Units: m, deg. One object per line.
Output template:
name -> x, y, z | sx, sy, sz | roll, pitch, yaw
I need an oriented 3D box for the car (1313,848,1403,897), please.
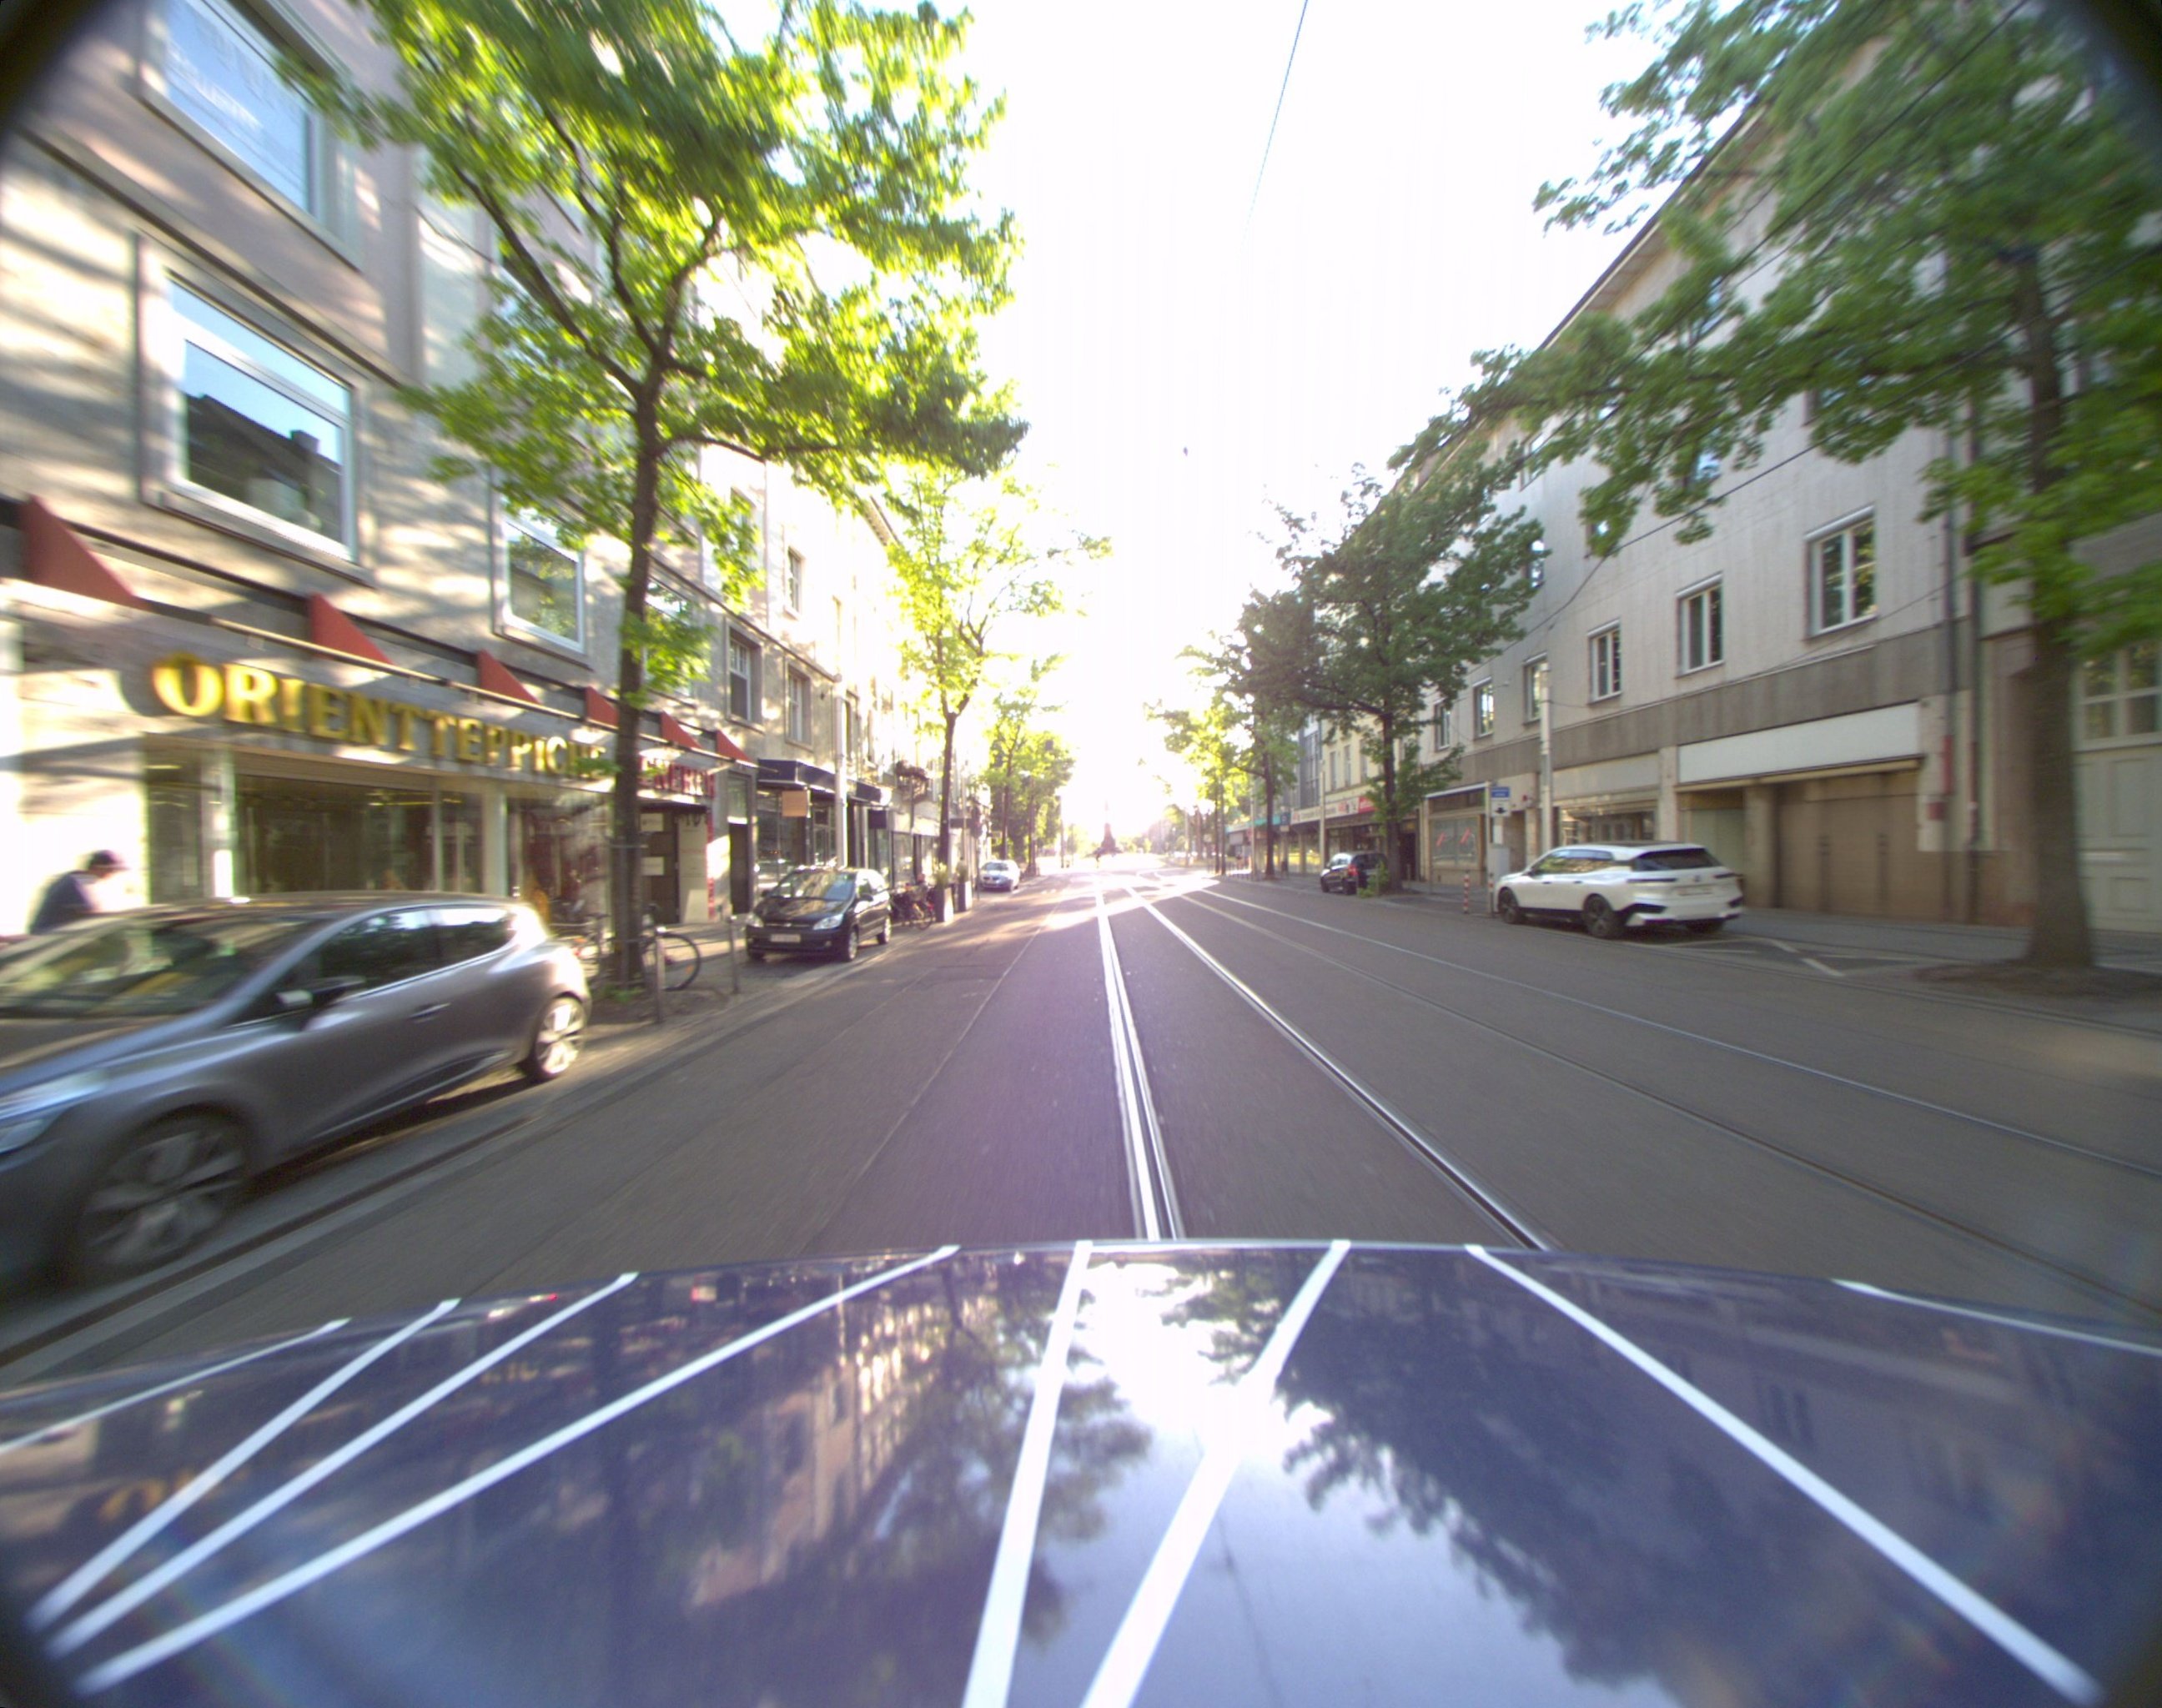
car -> 10.563, 0.667, 29.342 | 1.967, 1.630, 4.000 | -4, 1, 1

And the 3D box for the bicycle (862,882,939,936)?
bicycle -> -4.187, 1.256, 17.585 | 1.727, 1.132, 0.547 | 1, 1, 21

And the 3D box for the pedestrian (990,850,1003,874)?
pedestrian -> -7.132, 0.685, 63.863 | 0.847, 2.002, 0.842 | -2, 2, -20

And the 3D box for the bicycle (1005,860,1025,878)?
bicycle -> -4.388, 1.007, 50.667 | 0.462, 1.148, 1.677 | -3, 1, -39

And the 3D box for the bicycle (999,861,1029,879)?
bicycle -> -4.365, 1.058, 49.684 | 1.870, 1.148, 0.348 | -1, 1, 3

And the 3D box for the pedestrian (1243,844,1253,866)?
pedestrian -> 15.285, 0.114, 69.547 | 0.798, 2.002, 0.734 | -2, 2, 2

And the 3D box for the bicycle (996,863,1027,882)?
bicycle -> -4.448, 1.199, 48.493 | 1.870, 1.148, 0.562 | -1, 1, 3

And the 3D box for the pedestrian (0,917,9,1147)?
pedestrian -> -6.941, 0.963, 4.261 | 0.798, 1.636, 0.699 | -1, 1, -1

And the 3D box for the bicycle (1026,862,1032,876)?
bicycle -> -4.209, 1.209, 61.627 | 0.355, 1.070, 1.698 | -2, 1, -2

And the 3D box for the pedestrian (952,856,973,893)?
pedestrian -> -5.271, 0.901, 33.888 | 0.805, 1.633, 0.756 | 0, 1, 1

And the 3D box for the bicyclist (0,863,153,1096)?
bicyclist -> -7.781, 0.912, 5.785 | 0.640, 1.674, 0.599 | 0, 1, -1

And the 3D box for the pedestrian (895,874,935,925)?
pedestrian -> -4.217, 1.155, 19.361 | 0.819, 1.258, 0.586 | -1, 1, 6

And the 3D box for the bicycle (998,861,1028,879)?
bicycle -> -4.378, 1.034, 49.113 | 1.870, 1.148, 0.562 | -1, 1, 3

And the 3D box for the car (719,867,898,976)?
car -> -4.500, 1.041, 13.150 | 1.805, 1.450, 3.653 | 2, 1, -2

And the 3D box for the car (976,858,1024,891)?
car -> -3.966, 0.970, 37.782 | 1.780, 1.432, 4.422 | 2, 1, 1

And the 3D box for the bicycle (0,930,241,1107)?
bicycle -> -7.782, 1.212, 5.805 | 0.649, 1.068, 1.861 | 0, 0, -1

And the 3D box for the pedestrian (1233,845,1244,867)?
pedestrian -> 14.404, 0.207, 69.548 | 0.798, 2.002, 0.734 | -2, 2, 2

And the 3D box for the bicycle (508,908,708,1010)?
bicycle -> -5.547, 1.214, 9.010 | 1.861, 1.068, 0.712 | 0, 1, -9

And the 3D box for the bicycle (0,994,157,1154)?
bicycle -> -6.603, 1.370, 4.430 | 0.467, 0.802, 1.607 | 0, 0, -1

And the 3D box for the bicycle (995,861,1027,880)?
bicycle -> -4.407, 1.034, 47.782 | 1.870, 1.148, 0.562 | -1, 1, 3

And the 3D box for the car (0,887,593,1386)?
car -> -4.726, 1.054, 4.062 | 1.820, 1.477, 3.998 | 2, 0, -4

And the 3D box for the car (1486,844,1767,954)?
car -> 10.055, 0.700, 14.624 | 1.966, 1.630, 4.812 | -4, 1, 1
